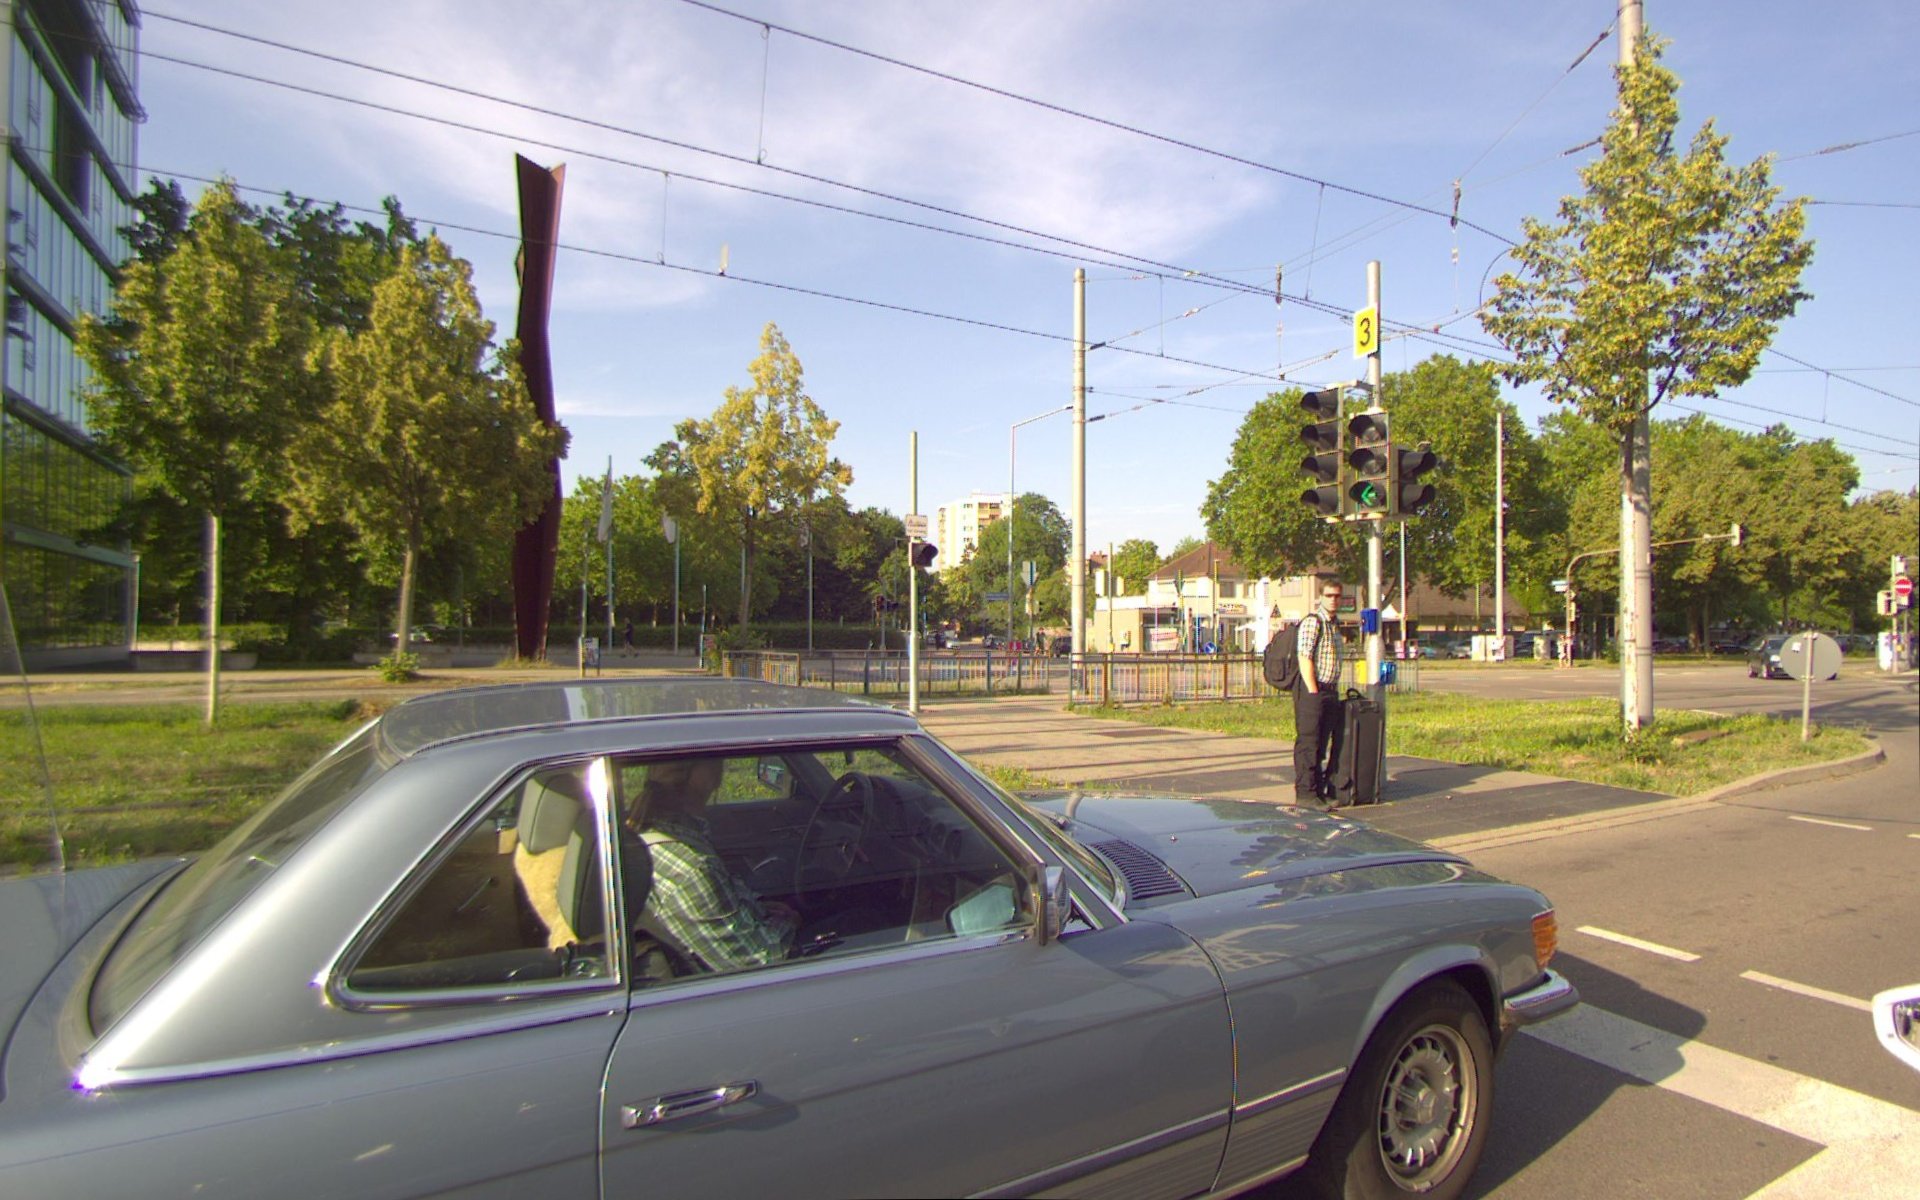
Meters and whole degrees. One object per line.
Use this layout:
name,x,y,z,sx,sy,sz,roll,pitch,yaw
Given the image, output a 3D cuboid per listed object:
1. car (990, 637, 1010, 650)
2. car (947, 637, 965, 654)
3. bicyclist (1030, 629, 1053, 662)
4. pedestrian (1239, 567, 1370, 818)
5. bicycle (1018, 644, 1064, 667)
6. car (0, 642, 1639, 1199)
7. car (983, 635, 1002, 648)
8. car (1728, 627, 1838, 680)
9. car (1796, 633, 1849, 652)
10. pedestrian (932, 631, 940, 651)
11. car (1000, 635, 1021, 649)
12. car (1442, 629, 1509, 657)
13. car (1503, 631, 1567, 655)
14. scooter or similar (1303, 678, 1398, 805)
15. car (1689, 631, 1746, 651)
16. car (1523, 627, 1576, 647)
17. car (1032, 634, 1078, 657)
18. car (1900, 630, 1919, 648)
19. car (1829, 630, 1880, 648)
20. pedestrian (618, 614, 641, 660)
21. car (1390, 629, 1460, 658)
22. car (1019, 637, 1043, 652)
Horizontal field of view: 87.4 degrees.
car,4.675,5.097,117.663,1.667,1.491,3.941,0,-2,-8
car,-0.449,5.128,113.690,1.961,1.806,4.000,0,-2,-1
bicyclist,3.875,2.155,47.740,0.836,1.512,0.697,-1,-2,38
pedestrian,2.637,0.672,7.714,0.628,1.816,0.696,1,0,-29
bicycle,3.860,2.625,47.737,2.168,1.055,0.697,-1,-2,38
car,-0.382,0.846,2.480,4.349,1.348,1.754,1,0,-31
car,3.968,5.056,123.452,1.667,1.491,3.941,0,-2,-8
car,27.059,1.719,33.175,1.702,1.480,4.570,-4,-2,26
car,72.128,3.552,83.993,3.945,1.580,1.876,1,-2,-25
pedestrian,-2.069,3.537,86.786,0.654,1.654,0.664,0,-1,-2
car,5.589,4.693,111.834,1.667,1.491,3.941,0,-2,-8
car,33.445,2.764,65.218,3.945,1.773,1.876,1,-2,-25
car,38.832,2.927,67.832,3.945,1.580,1.876,1,-2,-25
scooter or similar,3.095,1.102,7.977,0.424,0.919,0.546,1,0,-29
car,58.631,3.170,77.738,3.945,1.580,1.876,1,-2,-25
car,47.883,3.039,81.584,3.945,1.580,1.876,1,-2,-25
car,7.463,3.552,79.249,1.971,1.750,3.979,1,-2,-22
car,87.811,3.576,91.481,3.945,1.580,1.876,1,-2,-25
car,76.699,3.349,86.103,3.945,1.580,1.876,1,-2,-25
pedestrian,-15.593,1.750,47.396,0.864,2.135,0.724,-1,-3,-1
car,29.221,2.712,63.142,3.945,1.773,1.876,1,-2,-25
car,7.062,4.446,100.321,1.667,1.491,3.941,0,-2,-8
